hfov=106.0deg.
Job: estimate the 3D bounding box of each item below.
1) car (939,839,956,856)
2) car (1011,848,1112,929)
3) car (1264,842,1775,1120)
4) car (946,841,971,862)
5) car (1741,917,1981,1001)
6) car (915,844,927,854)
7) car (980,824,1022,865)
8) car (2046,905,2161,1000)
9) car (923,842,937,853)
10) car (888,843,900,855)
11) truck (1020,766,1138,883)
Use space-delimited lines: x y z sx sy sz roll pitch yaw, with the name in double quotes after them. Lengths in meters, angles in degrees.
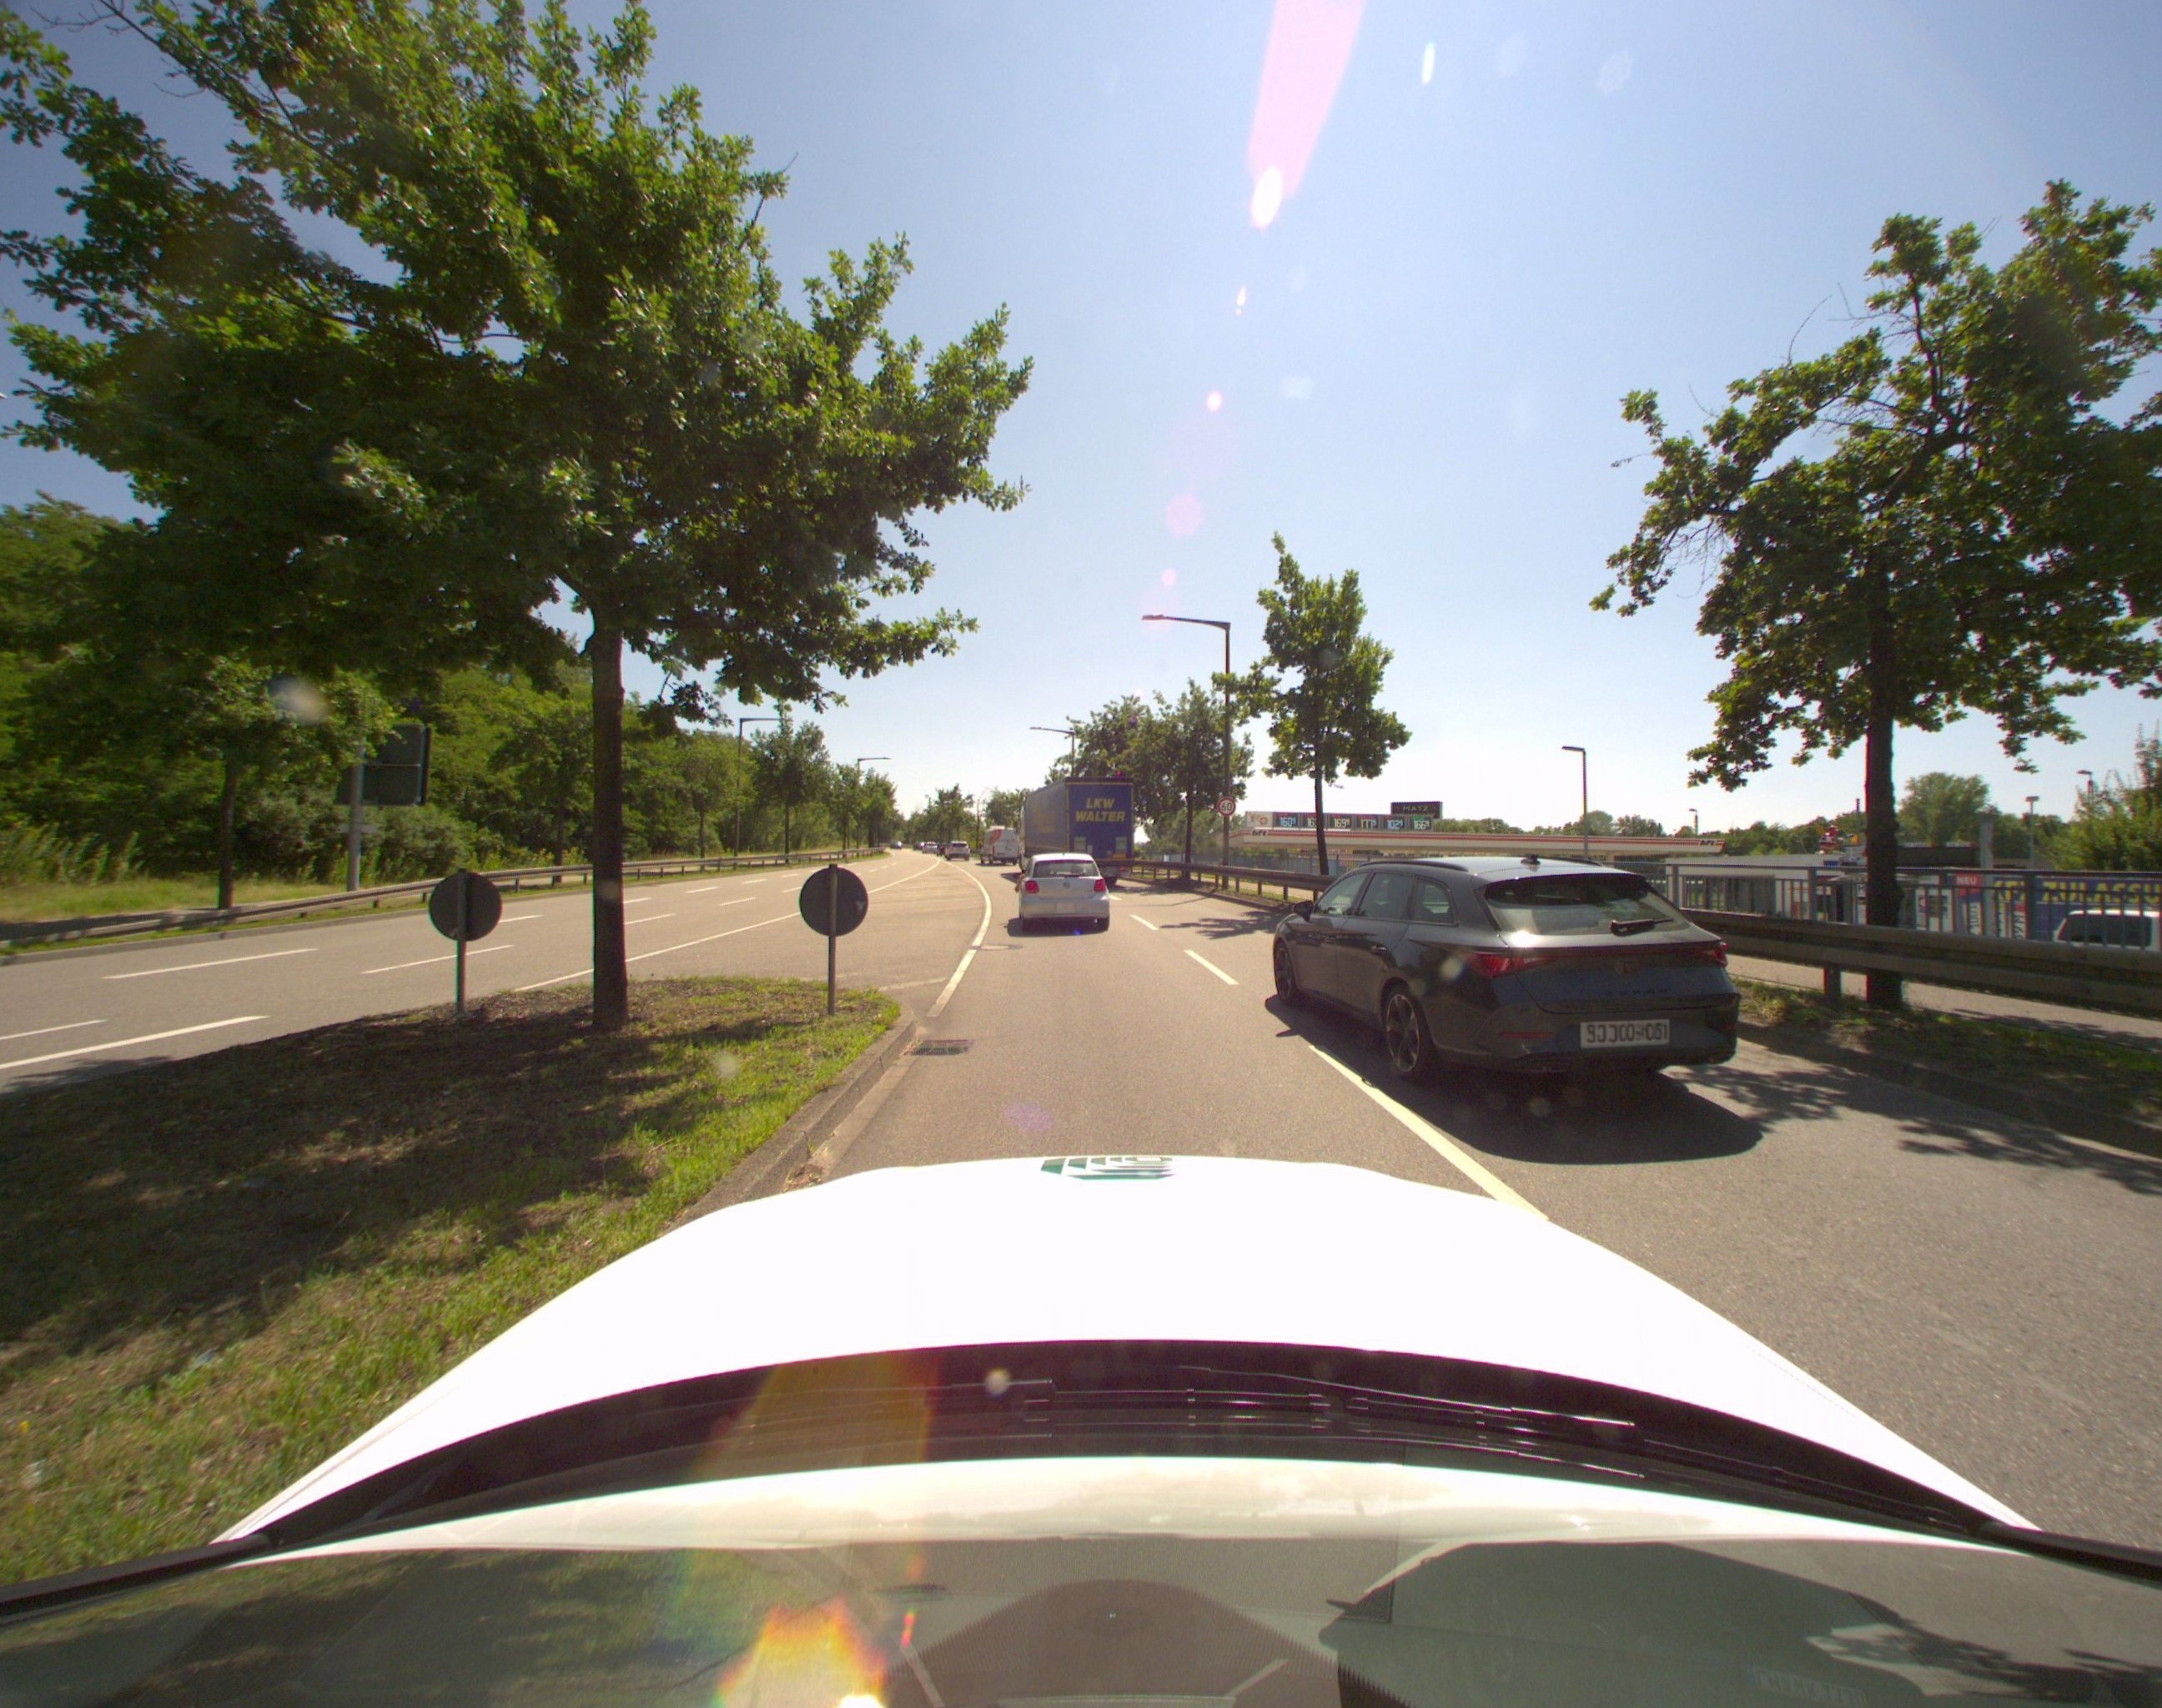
-14.920 -0.696 90.950 1.724 1.726 3.982 0 -1 -13 "car"
-0.496 0.654 16.407 1.645 1.439 3.526 0 -1 -8 "car"
2.819 0.704 6.445 1.601 1.456 4.230 0 -1 -3 "car"
-10.764 -0.205 71.340 1.905 1.718 4.205 0 -1 -12 "car"
15.726 2.044 16.570 1.470 1.309 3.283 1 -1 -34 "car"
-25.049 -0.830 127.517 1.664 1.465 3.570 0 -1 -8 "car"
-6.025 -0.719 60.541 2.179 2.900 6.327 0 1 -14 "car"
21.772 1.847 15.579 4.576 1.660 1.597 0 -1 2 "car"
-19.354 -0.817 104.284 1.609 1.360 3.647 0 0 -12 "car"
-29.080 -0.814 126.869 1.679 1.671 3.742 -1 2 -11 "car"
-0.680 -1.000 37.461 2.833 4.198 16.419 0 0 -9 "truck"
